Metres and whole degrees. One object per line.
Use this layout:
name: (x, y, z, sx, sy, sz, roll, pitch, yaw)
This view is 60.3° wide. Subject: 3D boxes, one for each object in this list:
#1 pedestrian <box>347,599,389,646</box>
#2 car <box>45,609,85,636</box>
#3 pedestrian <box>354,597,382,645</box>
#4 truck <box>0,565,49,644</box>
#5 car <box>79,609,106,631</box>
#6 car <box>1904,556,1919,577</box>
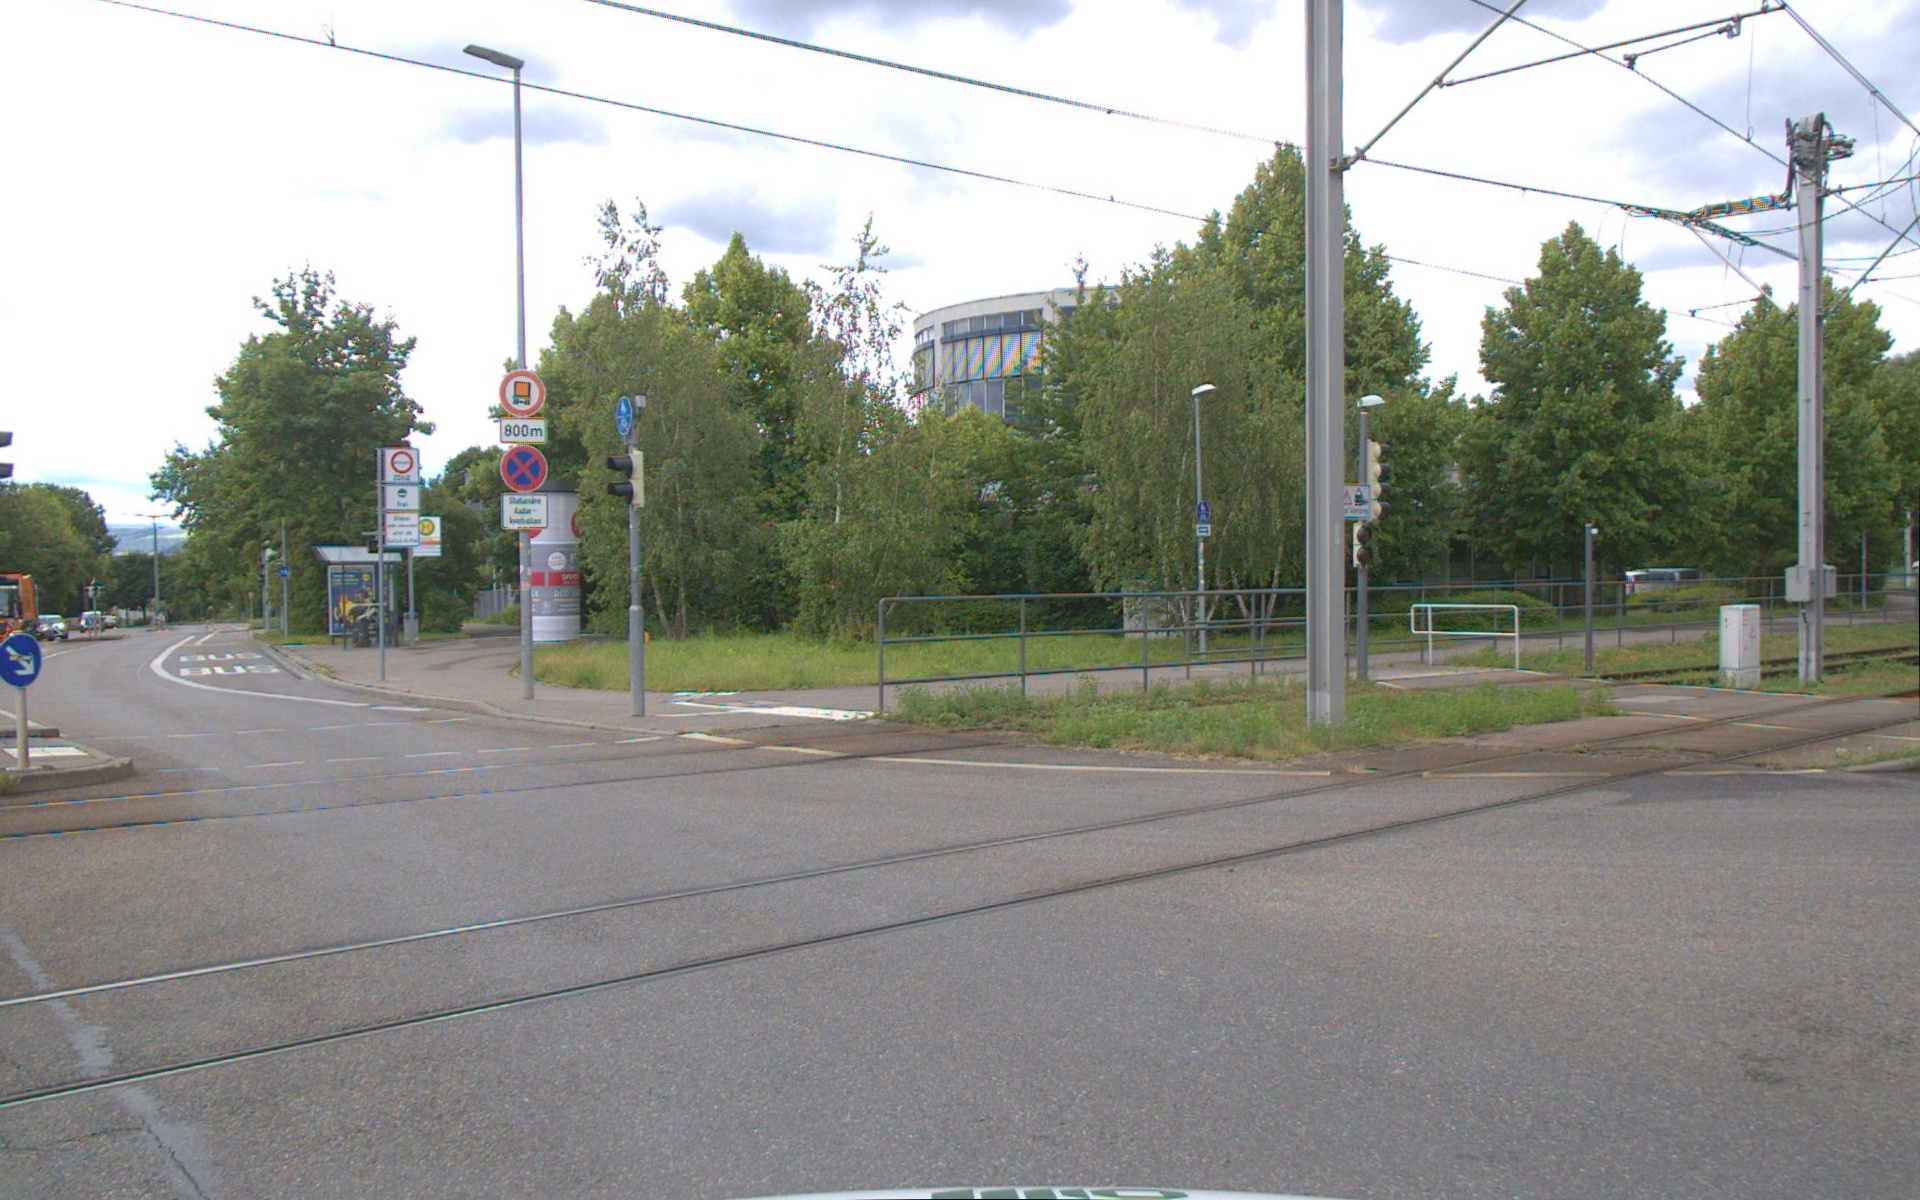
pedestrian: (-16.485, 0.633, 46.068, 0.754, 1.274, 0.776, -1, 0, 23)
car: (-55.271, 1.382, 102.244, 1.824, 1.546, 4.776, -4, 1, -26)
pedestrian: (-16.944, 0.596, 47.339, 0.718, 1.339, 0.585, -1, 0, -23)
truck: (-45.705, 0.249, 79.248, 2.671, 3.547, 9.919, -2, 1, -24)
car: (-77.172, 1.760, 147.148, 1.824, 1.834, 4.612, -4, 1, -26)
car: (78.379, -2.717, 133.501, 1.957, 1.758, 3.720, -1, 1, -9)
